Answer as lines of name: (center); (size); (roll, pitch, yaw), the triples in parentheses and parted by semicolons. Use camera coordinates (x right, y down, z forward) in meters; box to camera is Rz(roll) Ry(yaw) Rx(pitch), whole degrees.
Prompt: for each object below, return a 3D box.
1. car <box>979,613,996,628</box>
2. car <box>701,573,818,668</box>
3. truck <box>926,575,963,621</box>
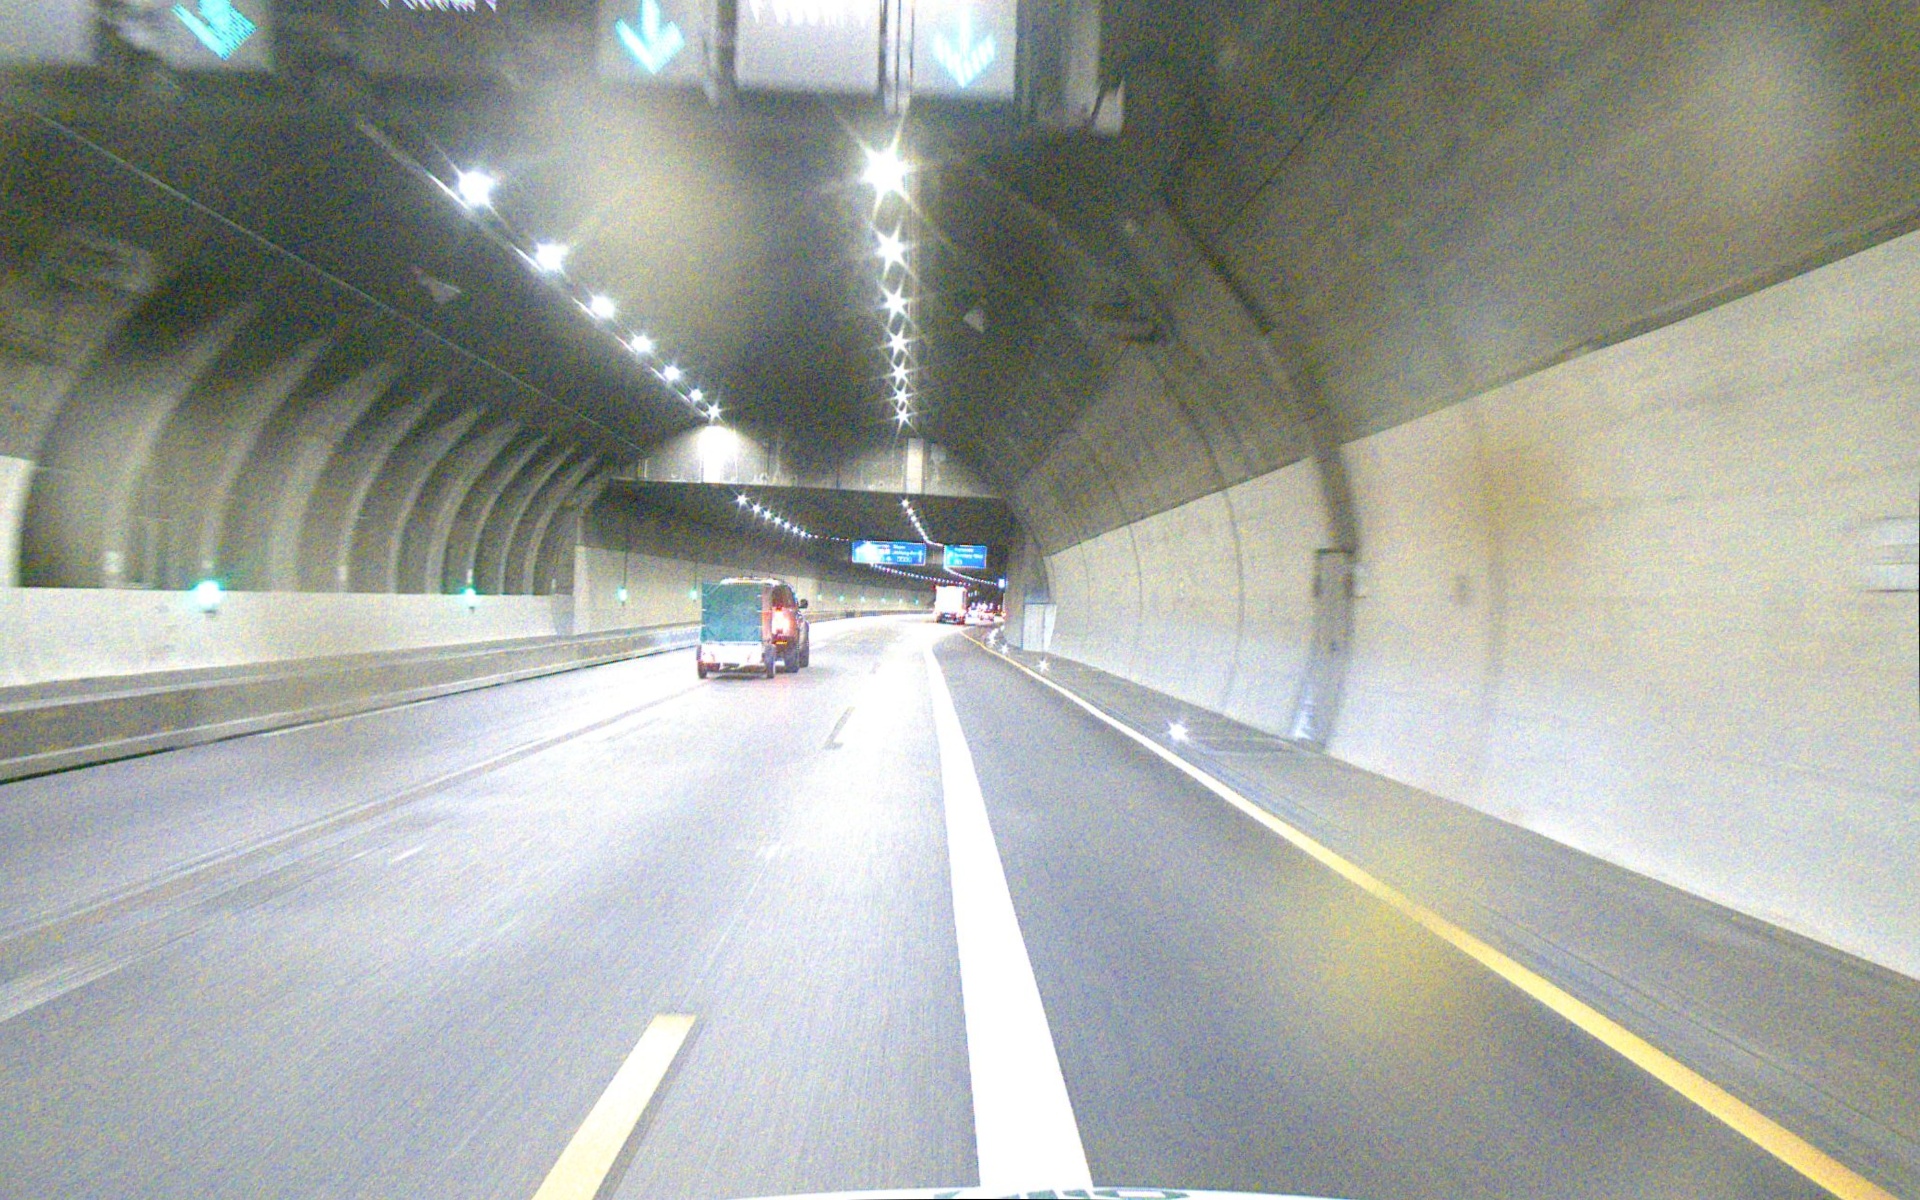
car: (3.720, 2.733, 222.797); (1.952, 1.928, 5.535); (-1, 0, 4)
car: (-4.322, 0.521, 36.417); (1.953, 1.928, 5.451); (0, -2, -1)
truck: (-1.578, -0.283, 162.413); (3.404, 4.391, 10.949); (0, 1, -2)
